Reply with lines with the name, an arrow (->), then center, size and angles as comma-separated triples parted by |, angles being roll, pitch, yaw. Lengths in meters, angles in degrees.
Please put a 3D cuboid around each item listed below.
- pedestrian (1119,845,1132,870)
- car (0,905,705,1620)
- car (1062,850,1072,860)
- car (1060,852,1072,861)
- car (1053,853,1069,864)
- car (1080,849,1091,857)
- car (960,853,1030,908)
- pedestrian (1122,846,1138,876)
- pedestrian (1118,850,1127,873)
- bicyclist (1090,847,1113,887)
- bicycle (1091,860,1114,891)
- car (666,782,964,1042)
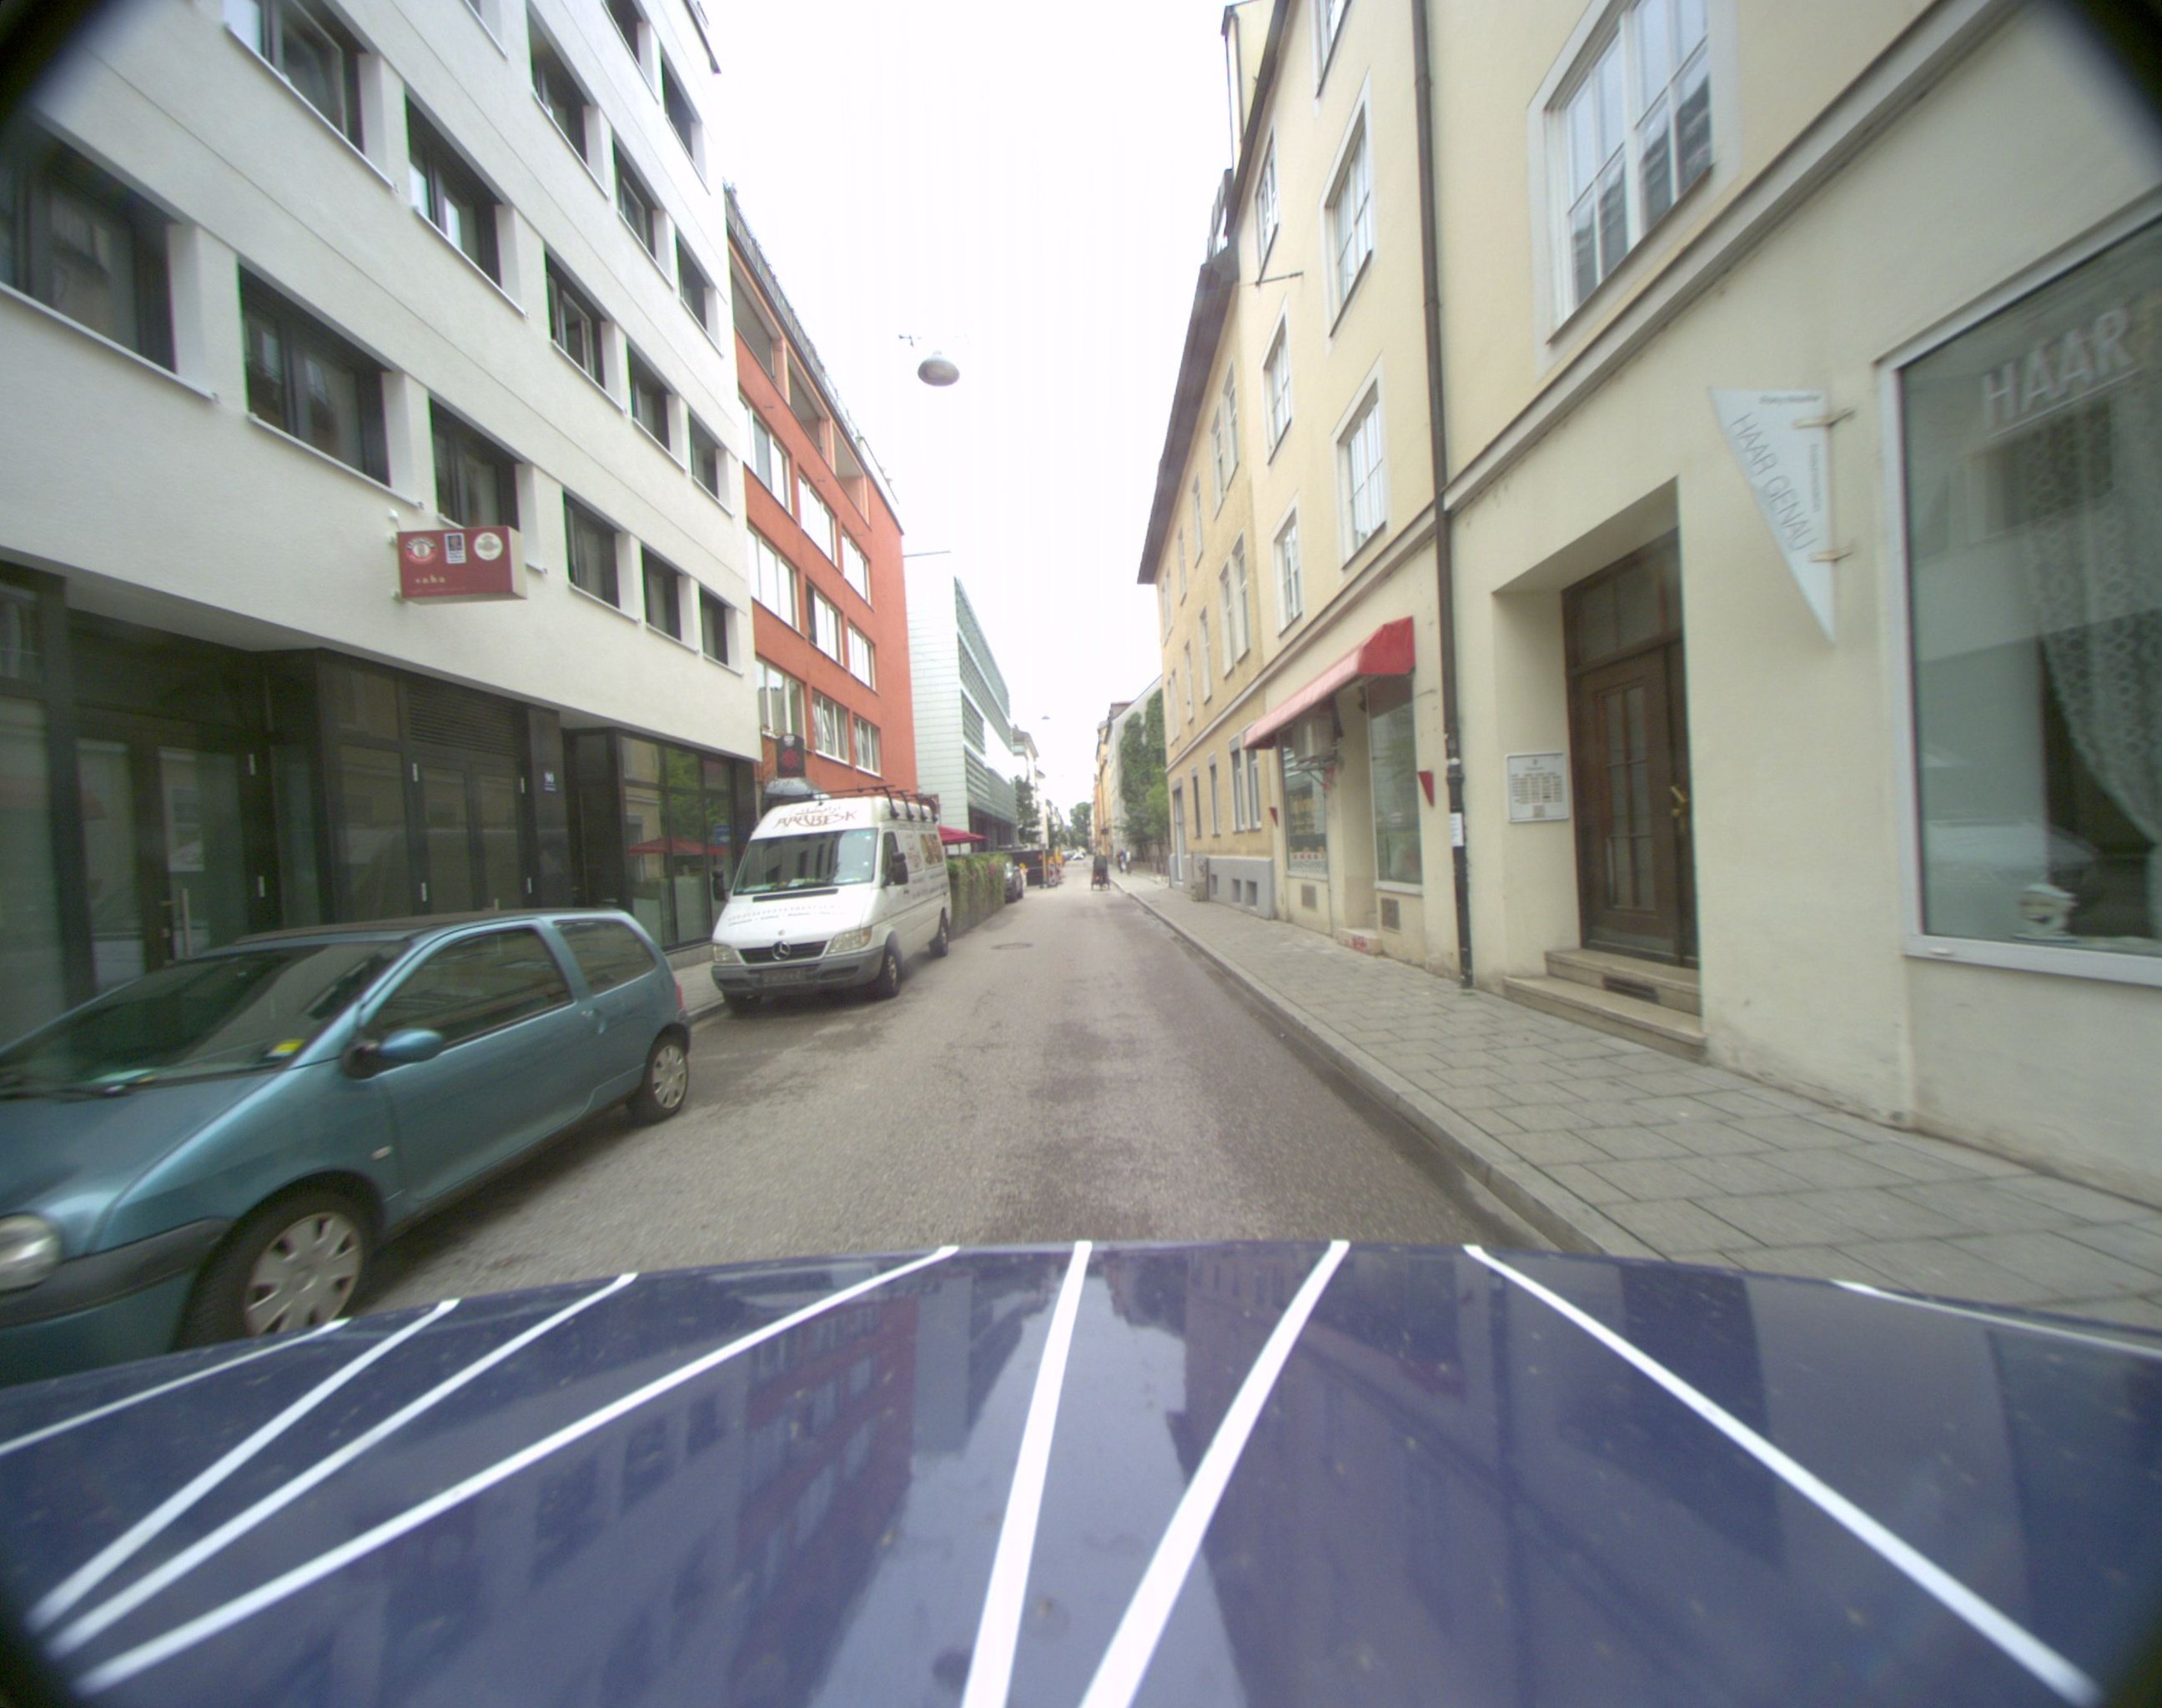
pedestrian -> 3.372, 0.279, 57.377 | 0.777, 1.826, 0.991 | -4, 1, 0
car -> -3.430, 1.137, 3.490 | 1.584, 1.455, 3.551 | -4, 0, -1
car -> -2.560, 0.170, 138.762 | 1.793, 1.550, 3.999 | -4, 1, 0
car -> -2.300, 0.350, 116.184 | 1.625, 1.259, 4.329 | -4, 1, 0
car -> -2.597, 0.577, 99.226 | 1.809, 1.390, 3.999 | -4, 1, 0
car -> 0.774, -0.203, 147.658 | 1.998, 1.583, 4.374 | -4, 1, 0
car -> -3.055, 0.901, 28.006 | 1.828, 1.700, 4.389 | -4, 0, 2
pedestrian -> 3.090, 0.421, 48.373 | 0.861, 1.834, 0.974 | -4, 1, 2
pedestrian -> 3.022, 0.544, 55.574 | 0.553, 1.650, 0.997 | -4, 1, 0
bicyclist -> 0.900, 0.560, 33.198 | 0.929, 1.711, 1.099 | -2, 1, 0
bicycle -> 0.939, 0.926, 33.690 | 0.934, 1.250, 2.413 | -2, 1, 0
car -> -3.160, 0.582, 10.718 | 1.925, 2.491, 5.996 | -5, 0, 0
